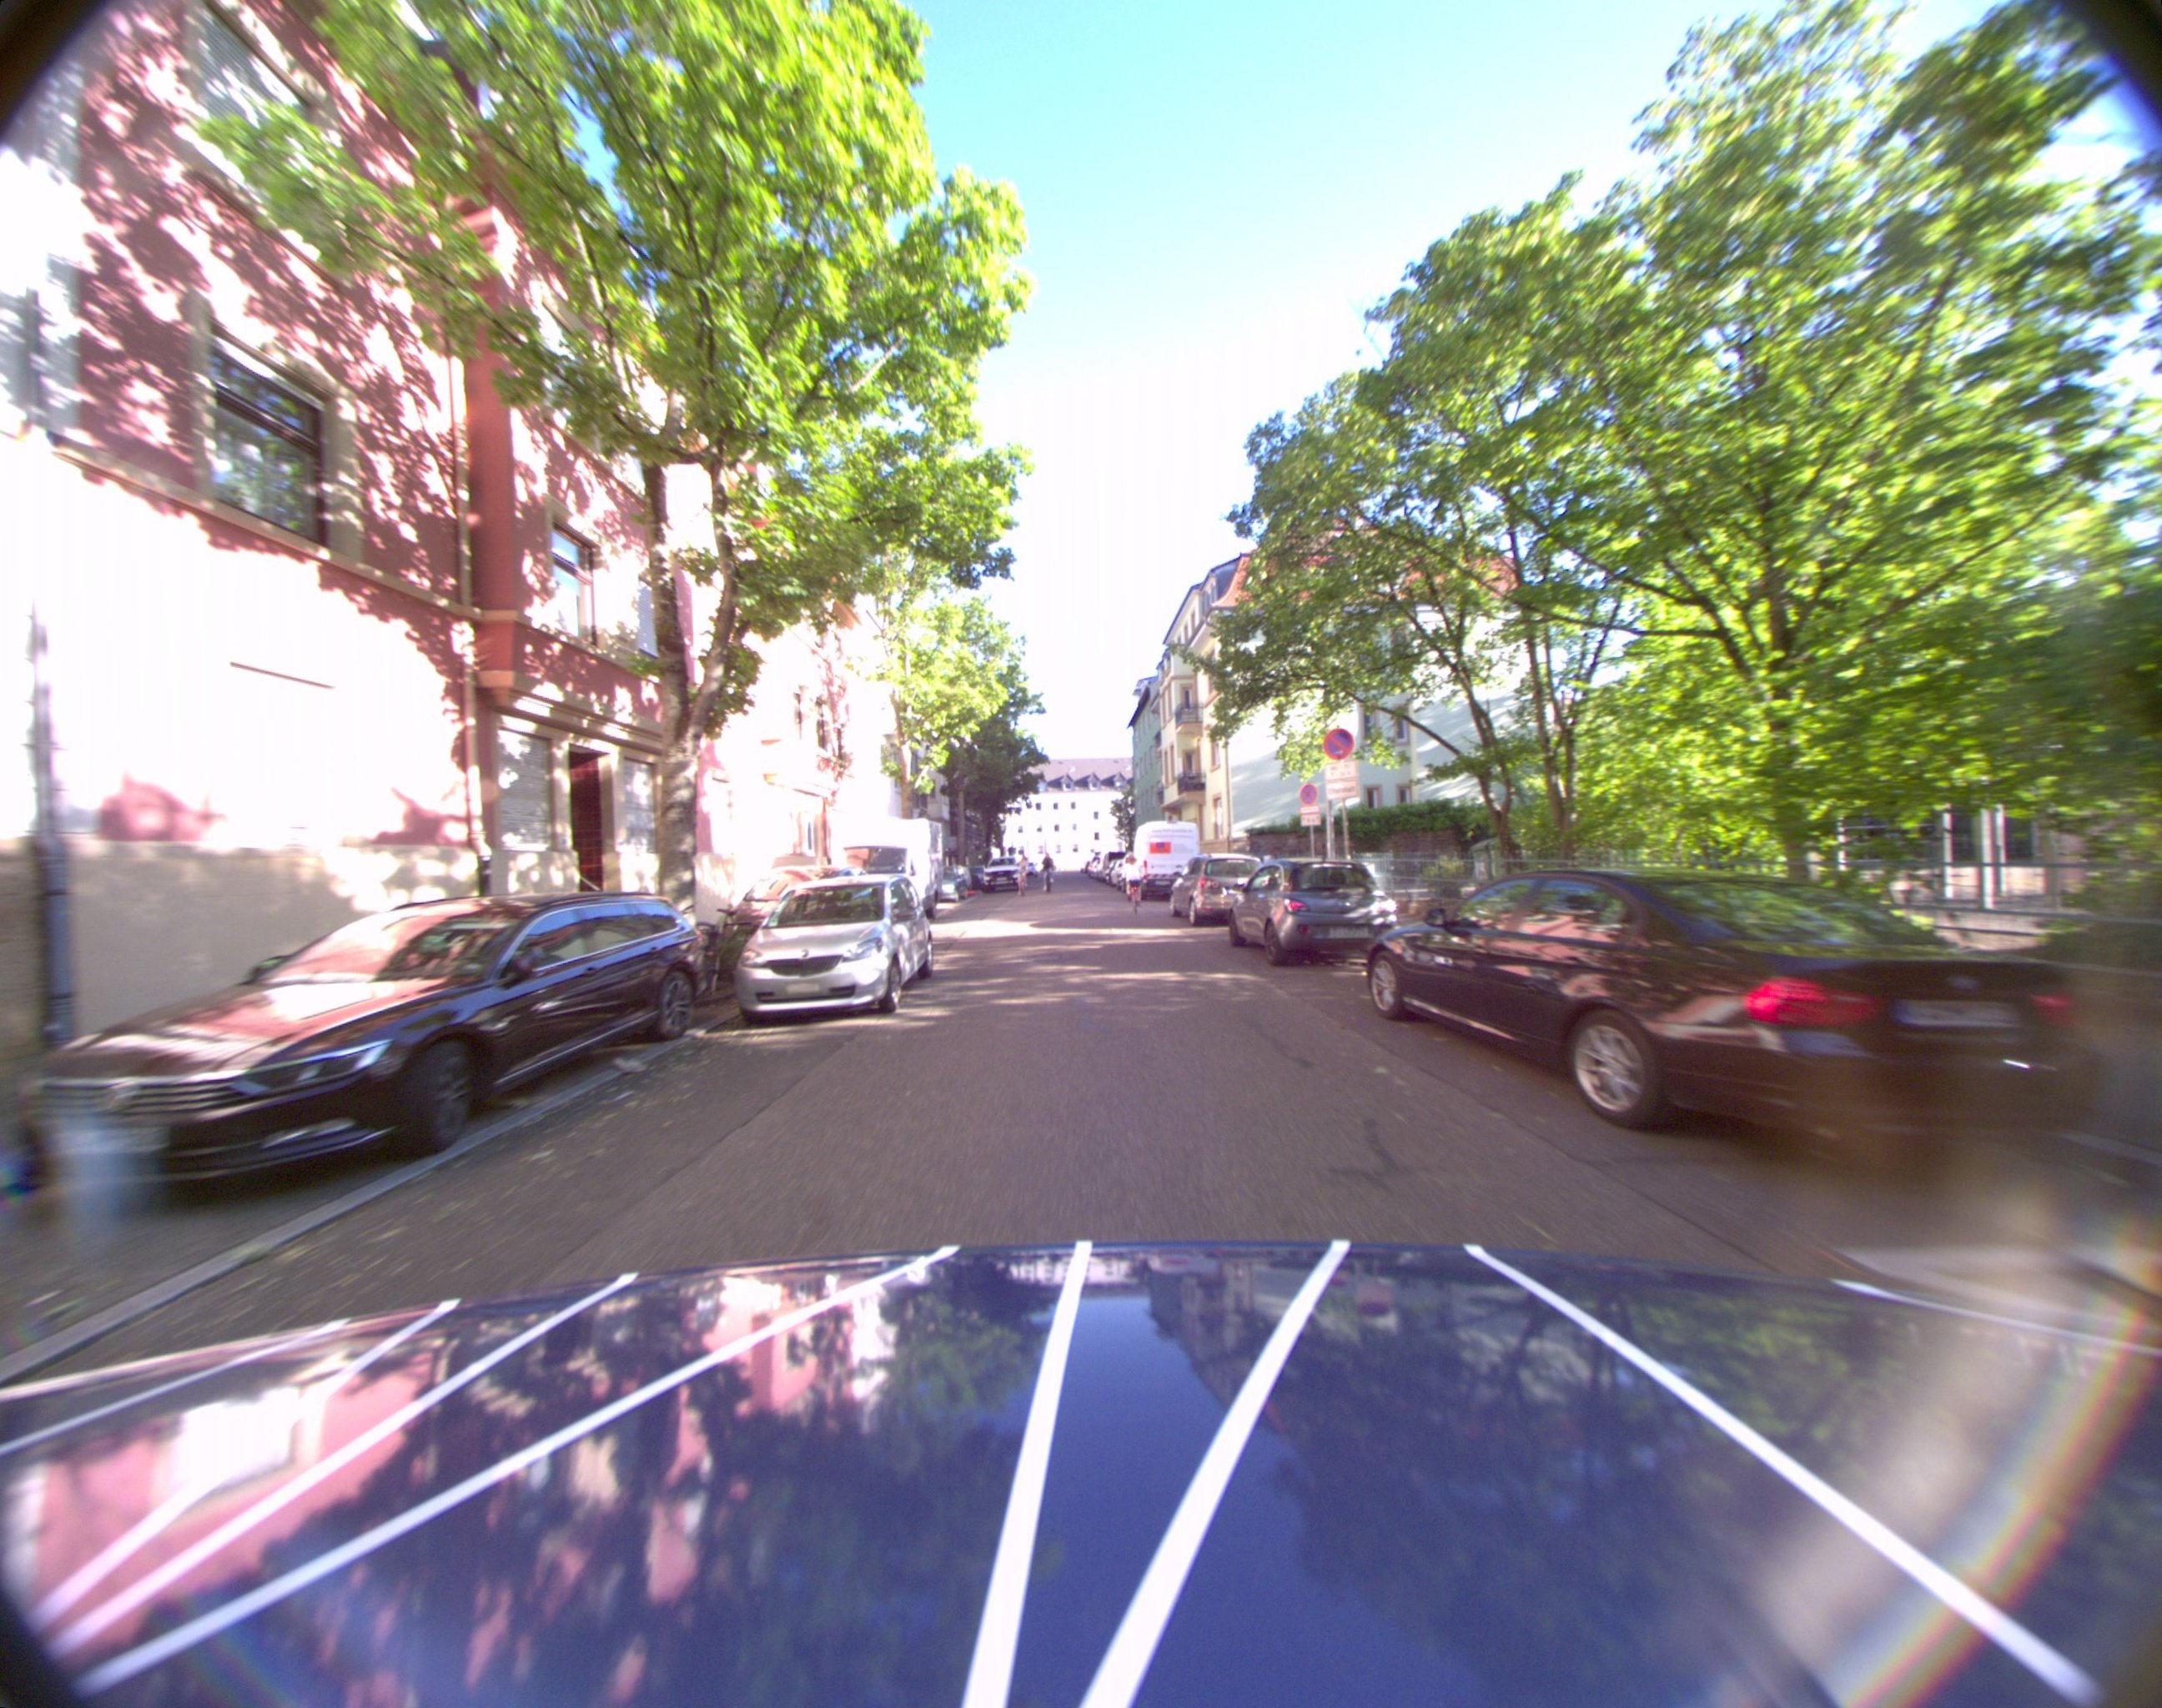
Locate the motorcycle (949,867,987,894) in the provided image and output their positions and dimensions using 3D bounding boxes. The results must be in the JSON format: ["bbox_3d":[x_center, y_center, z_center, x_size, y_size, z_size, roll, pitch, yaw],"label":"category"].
[{"bbox_3d":[-5.691,1.341,38.285,1.768,1.233,0.700,-3,0,-41],"label":"motorcycle"}]

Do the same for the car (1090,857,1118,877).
[{"bbox_3d":[1.801,1.014,60.936,1.725,1.453,4.505,0,0,-5],"label":"car"}]

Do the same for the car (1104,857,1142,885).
[{"bbox_3d":[2.395,0.962,44.233,1.771,1.512,4.824,-1,0,-1],"label":"car"}]

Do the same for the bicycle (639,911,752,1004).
[{"bbox_3d":[-4.721,1.262,9.331,1.204,1.069,0.298,-1,1,-2],"label":"bicycle"}]

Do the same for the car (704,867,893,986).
[{"bbox_3d":[-4.995,1.168,14.289,1.890,1.706,4.943,-2,0,-3],"label":"car"}]

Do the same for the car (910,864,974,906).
[{"bbox_3d":[-5.653,1.204,31.433,1.755,1.520,4.781,-1,0,-1],"label":"car"}]

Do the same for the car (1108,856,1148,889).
[{"bbox_3d":[2.400,0.901,39.475,1.639,1.543,4.087,-1,1,-2],"label":"car"}]

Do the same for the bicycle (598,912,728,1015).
[{"bbox_3d":[-4.892,1.279,8.920,1.311,1.133,0.328,-1,0,-2],"label":"bicycle"}]

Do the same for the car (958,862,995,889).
[{"bbox_3d":[-6.064,1.225,44.511,1.684,1.413,4.429,-1,0,-2],"label":"car"}]

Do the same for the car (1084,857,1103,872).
[{"bbox_3d":[1.292,1.077,79.881,1.771,1.444,4.206,1,0,-3],"label":"car"}]

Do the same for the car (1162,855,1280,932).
[{"bbox_3d":[3.114,0.812,17.804,1.785,1.581,4.468,0,0,-2],"label":"car"}]

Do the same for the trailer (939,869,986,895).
[{"bbox_3d":[-5.762,1.341,36.926,2.088,1.106,1.114,-3,0,-15],"label":"trailer"}]

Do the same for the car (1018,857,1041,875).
[{"bbox_3d":[-4.674,1.059,69.781,1.807,1.526,3.964,-3,0,0],"label":"car"}]

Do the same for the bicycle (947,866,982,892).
[{"bbox_3d":[-6.219,1.340,40.576,1.764,1.297,0.586,-2,0,-3],"label":"bicycle"}]

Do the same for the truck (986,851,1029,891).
[{"bbox_3d":[-3.877,0.859,40.902,1.833,1.937,5.540,-3,0,-1],"label":"truck"}]

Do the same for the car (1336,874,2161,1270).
[{"bbox_3d":[3.553,0.914,5.310,1.718,1.387,4.778,2,0,-3],"label":"car"}]

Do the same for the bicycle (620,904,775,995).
[{"bbox_3d":[-5.223,1.289,10.421,1.816,1.160,0.569,0,0,-2],"label":"bicycle"}]

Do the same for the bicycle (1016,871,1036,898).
[{"bbox_3d":[-2.396,1.297,33.217,0.708,1.039,1.857,-6,1,-3],"label":"bicycle"}]

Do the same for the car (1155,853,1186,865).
[{"bbox_3d":[12.778,0.771,108.582,4.075,1.675,1.921,-1,0,-11],"label":"car"}]

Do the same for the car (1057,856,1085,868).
[{"bbox_3d":[-1.406,1.158,106.537,3.614,1.440,1.553,-3,1,-10],"label":"car"}]

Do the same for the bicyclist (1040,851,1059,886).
[{"bbox_3d":[-1.472,0.662,35.644,0.757,1.556,0.981,-4,0,0],"label":"bicyclist"}]

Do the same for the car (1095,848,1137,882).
[{"bbox_3d":[2.250,0.678,50.278,2.258,2.156,5.241,0,0,-4],"label":"car"}]

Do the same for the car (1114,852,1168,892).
[{"bbox_3d":[2.640,0.782,34.409,1.880,1.675,4.968,0,0,-2],"label":"car"}]

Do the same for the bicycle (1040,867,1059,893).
[{"bbox_3d":[-1.447,1.207,35.699,0.741,1.054,1.857,-4,1,0],"label":"bicycle"}]

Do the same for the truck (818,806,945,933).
[{"bbox_3d":[-5.185,0.372,20.691,2.079,2.951,6.107,0,0,-2],"label":"truck"}]

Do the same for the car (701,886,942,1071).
[{"bbox_3d":[-2.861,1.284,9.268,1.683,1.535,3.799,-3,0,-2],"label":"car"}]

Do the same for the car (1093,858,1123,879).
[{"bbox_3d":[1.956,1.033,55.915,1.838,1.453,4.362,0,0,-3],"label":"car"}]

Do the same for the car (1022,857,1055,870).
[{"bbox_3d":[-5.925,1.334,105.800,4.494,1.498,1.944,-3,0,-8],"label":"car"}]

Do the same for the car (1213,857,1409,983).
[{"bbox_3d":[3.246,0.837,11.602,1.680,1.563,4.151,1,0,-1],"label":"car"}]

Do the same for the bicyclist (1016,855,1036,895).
[{"bbox_3d":[-2.422,0.904,33.268,0.716,1.679,0.981,-5,1,-3],"label":"bicyclist"}]

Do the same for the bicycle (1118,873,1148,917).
[{"bbox_3d":[1.401,1.081,20.658,0.666,1.071,1.685,-3,1,1],"label":"bicycle"}]

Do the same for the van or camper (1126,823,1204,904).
[{"bbox_3d":[3.014,0.319,28.647,2.134,2.753,5.850,0,0,-2],"label":"van or camper"}]

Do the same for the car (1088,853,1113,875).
[{"bbox_3d":[1.654,0.875,66.576,1.776,1.832,4.414,0,0,-3],"label":"car"}]

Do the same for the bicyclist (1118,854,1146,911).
[{"bbox_3d":[1.380,0.765,20.586,0.653,1.500,0.624,-3,1,0],"label":"bicyclist"}]

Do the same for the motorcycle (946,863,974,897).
[{"bbox_3d":[-5.557,1.181,35.011,0.932,1.477,2.138,-3,0,0],"label":"motorcycle"}]

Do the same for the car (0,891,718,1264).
[{"bbox_3d":[-4.748,1.190,5.892,1.791,1.505,4.458,-3,0,-2],"label":"car"}]
